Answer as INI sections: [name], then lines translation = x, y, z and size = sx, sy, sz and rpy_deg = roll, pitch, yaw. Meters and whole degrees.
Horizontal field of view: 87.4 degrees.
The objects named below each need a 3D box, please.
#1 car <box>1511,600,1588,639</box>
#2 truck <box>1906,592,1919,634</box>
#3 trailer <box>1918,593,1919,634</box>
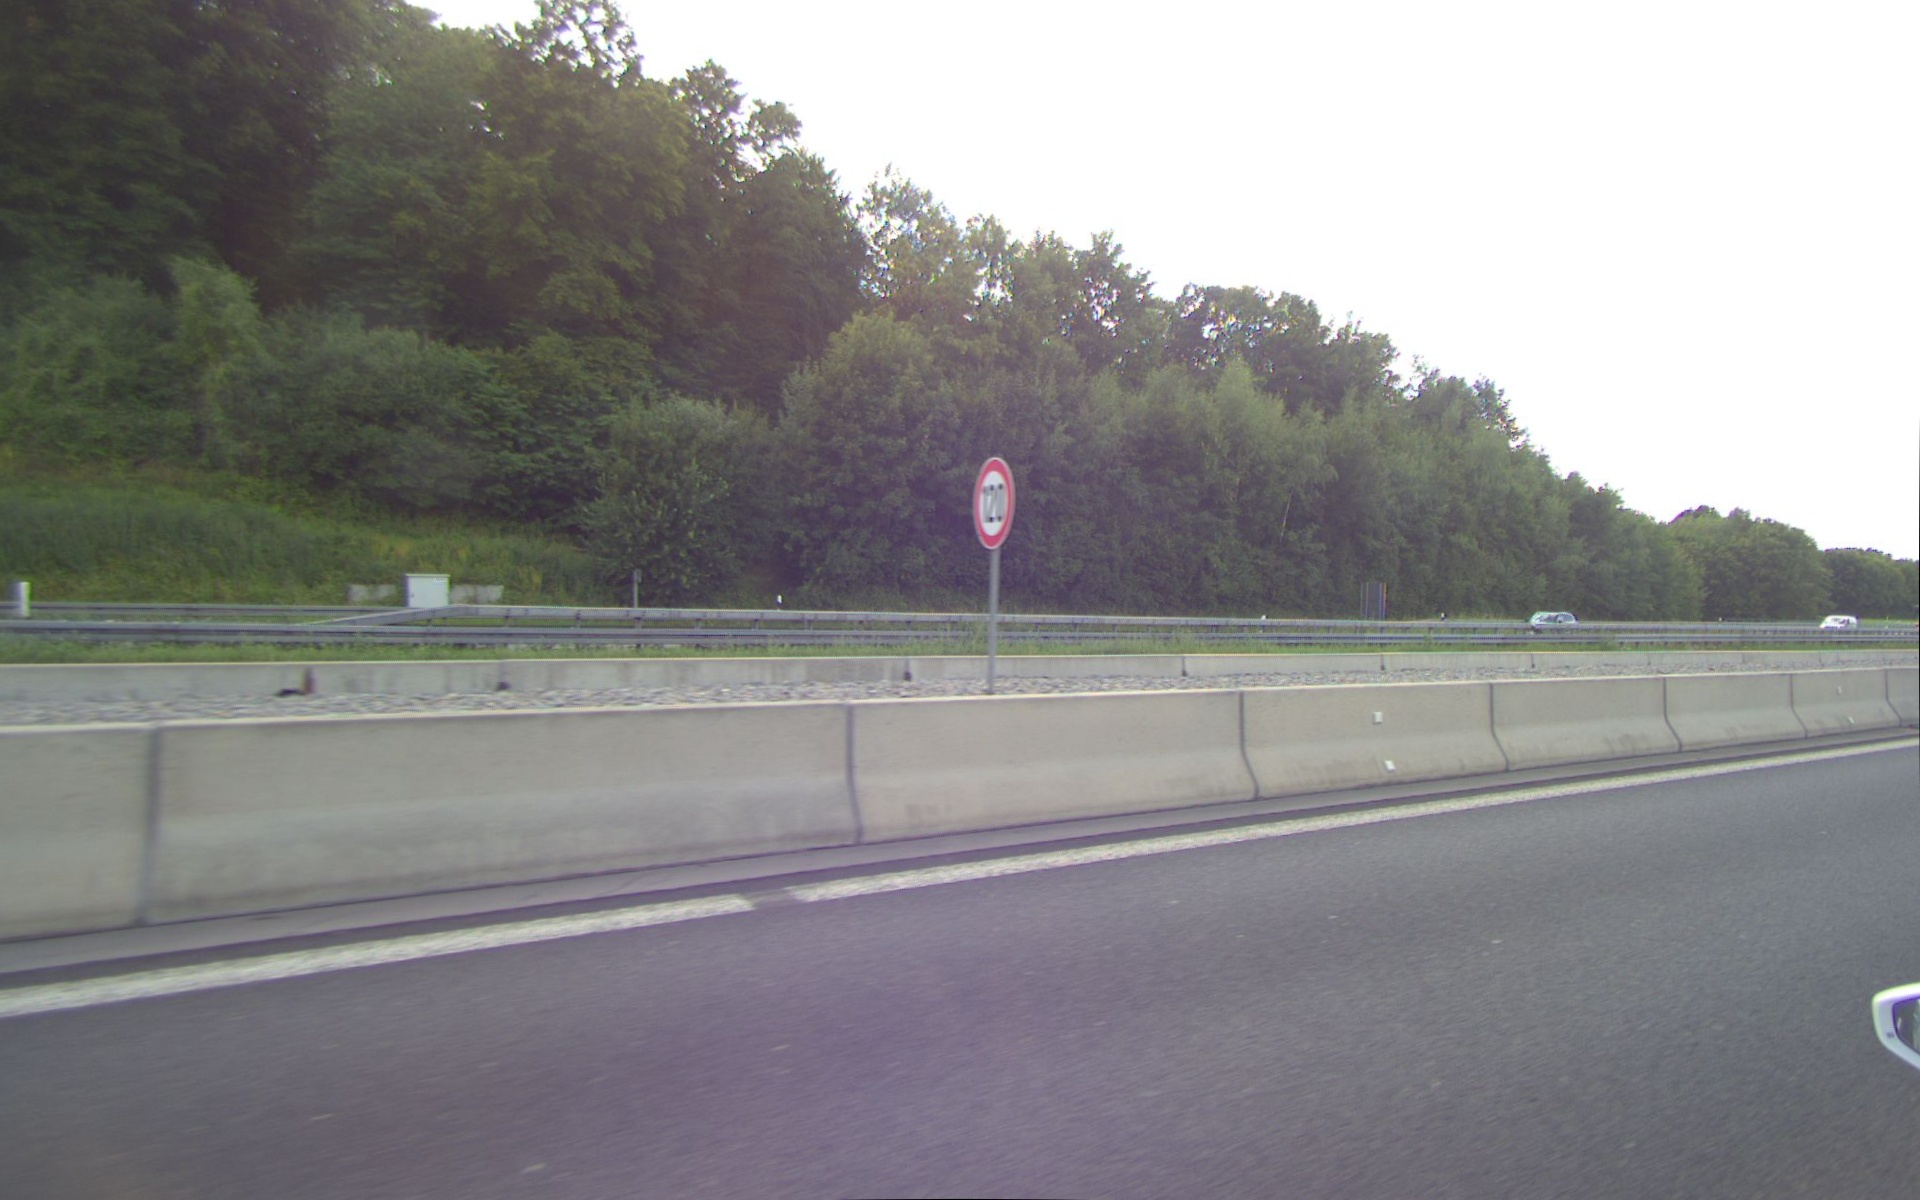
[car]
translation = 32.218, 1.085, 54.913
size = 3.955, 2.040, 1.983
rpy_deg = 1, 1, -32
[truck]
translation = 91.792, 1.290, 94.422
size = 7.058, 3.878, 2.791
rpy_deg = 1, 1, -35
[trailer]
translation = 97.215, 1.434, 98.251
size = 12.066, 3.858, 2.794
rpy_deg = 1, 1, -35
